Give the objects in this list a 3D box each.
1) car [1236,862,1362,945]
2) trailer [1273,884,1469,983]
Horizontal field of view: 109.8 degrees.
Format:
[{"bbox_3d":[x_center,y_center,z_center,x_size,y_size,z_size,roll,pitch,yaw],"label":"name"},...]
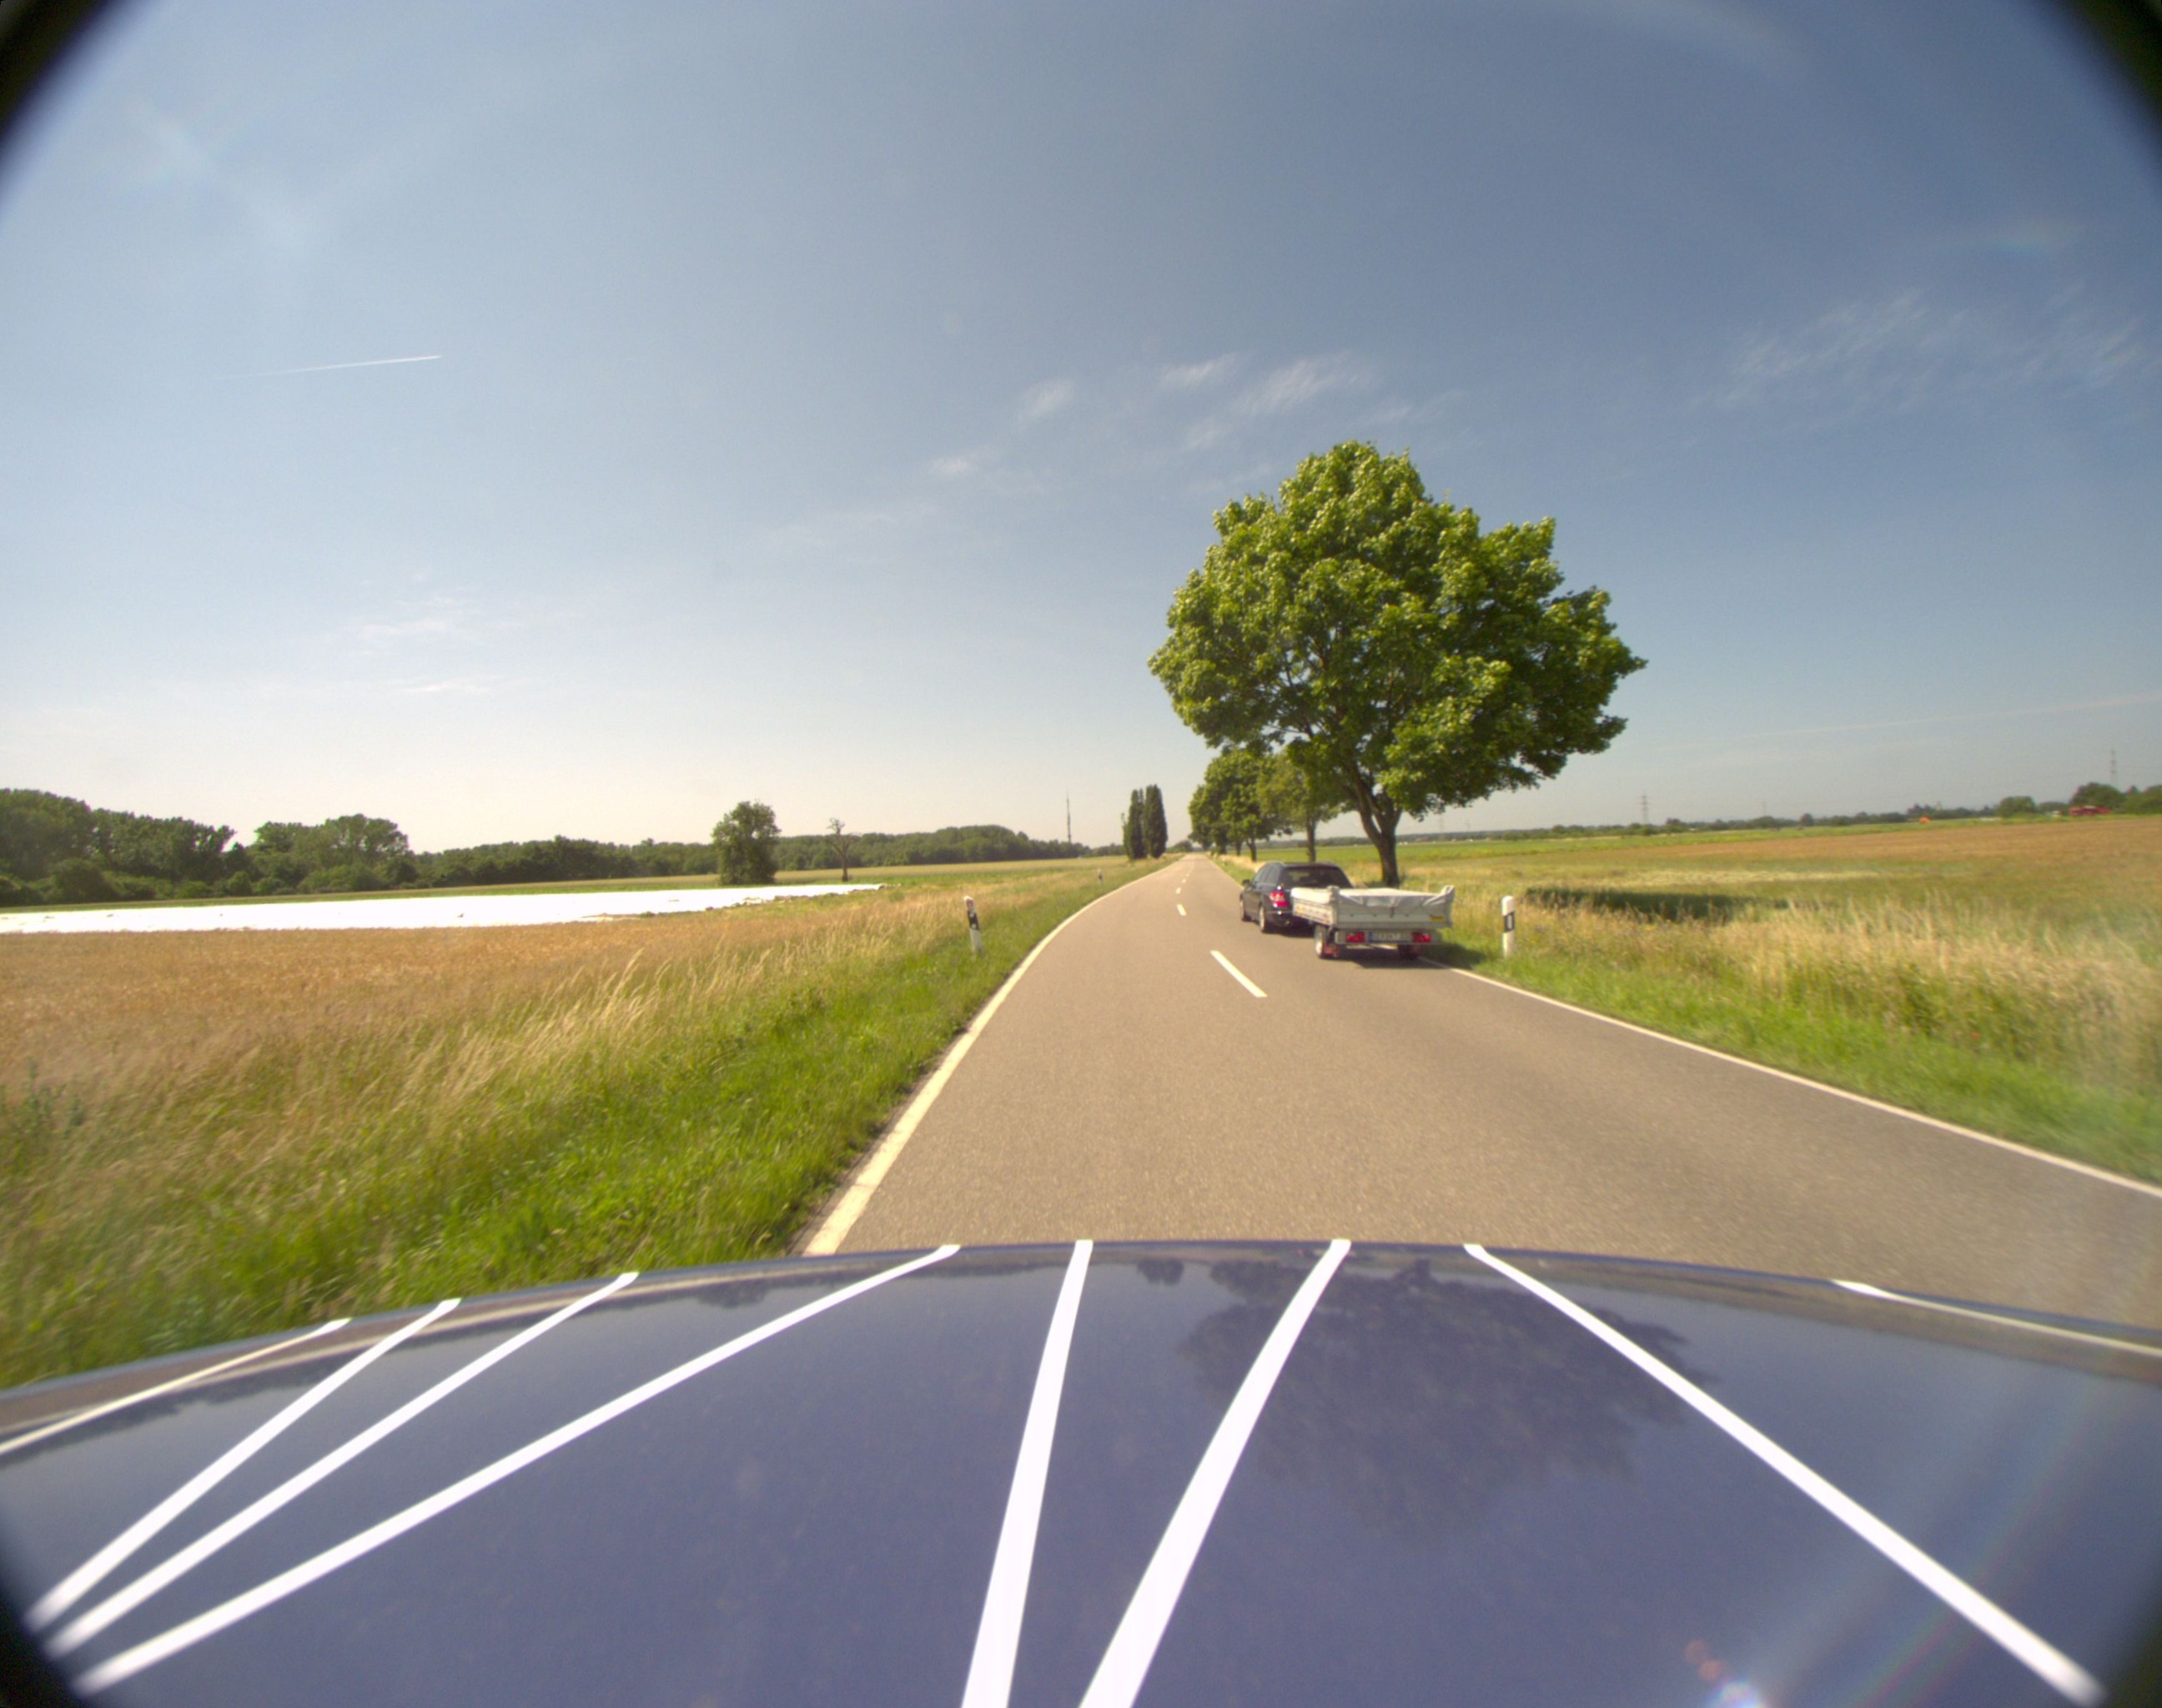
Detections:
[{"bbox_3d":[4.381,0.923,15.904,1.647,1.421,4.181,0,0,3],"label":"car"},{"bbox_3d":[4.203,1.090,11.730,1.626,1.059,4.120,1,0,3],"label":"trailer"}]
